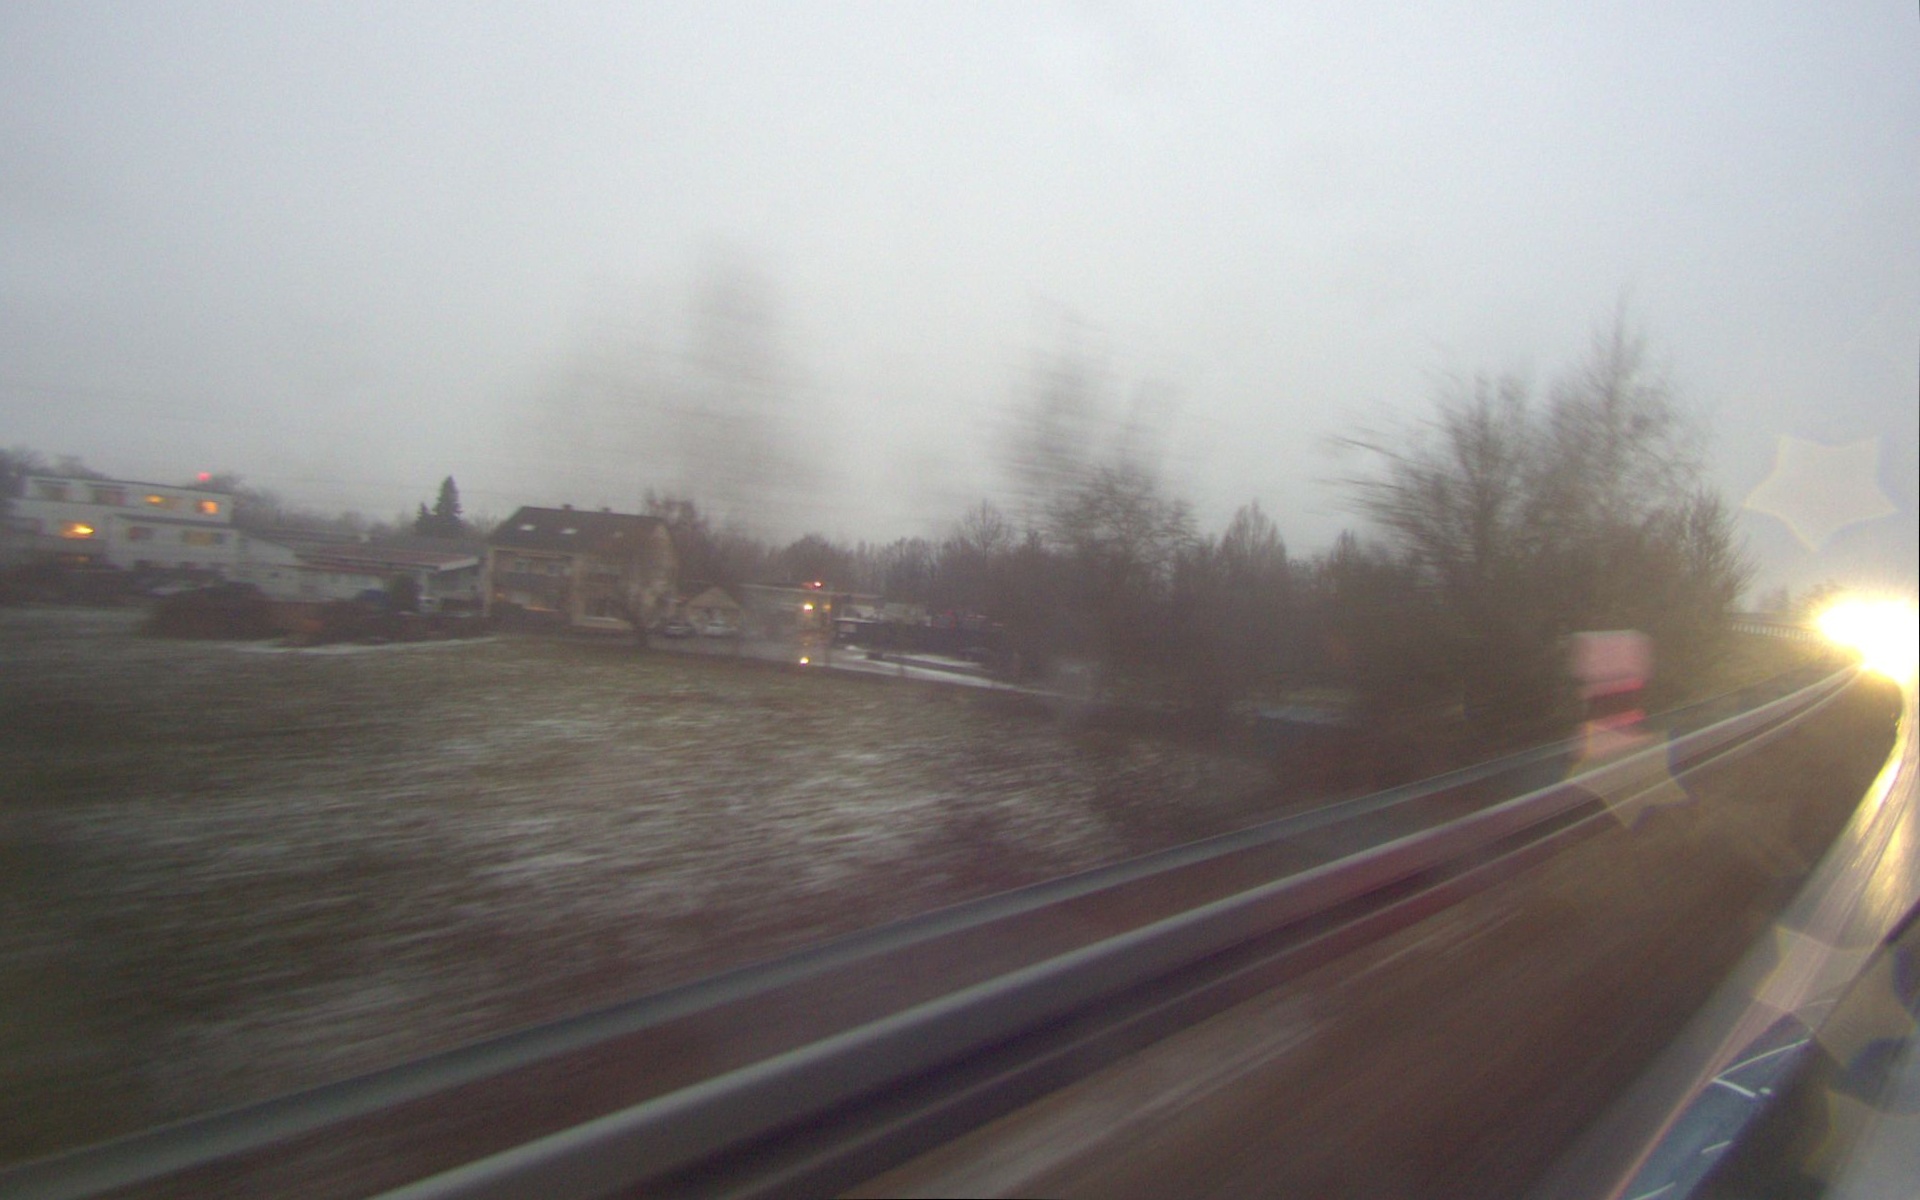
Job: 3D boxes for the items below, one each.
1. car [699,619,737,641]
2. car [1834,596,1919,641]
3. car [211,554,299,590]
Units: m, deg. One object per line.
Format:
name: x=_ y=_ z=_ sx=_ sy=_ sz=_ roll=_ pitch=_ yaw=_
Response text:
car: x=-21.573 y=2.652 z=90.349 sx=1.966 sy=1.749 sz=3.993 roll=2 pitch=1 yaw=7
car: x=38.595 y=0.812 z=42.754 sx=2.092 sy=1.595 sz=4.735 roll=4 pitch=0 yaw=36
car: x=-58.847 y=-2.323 z=84.529 sx=6.007 sy=2.876 sz=2.291 roll=2 pitch=1 yaw=5
